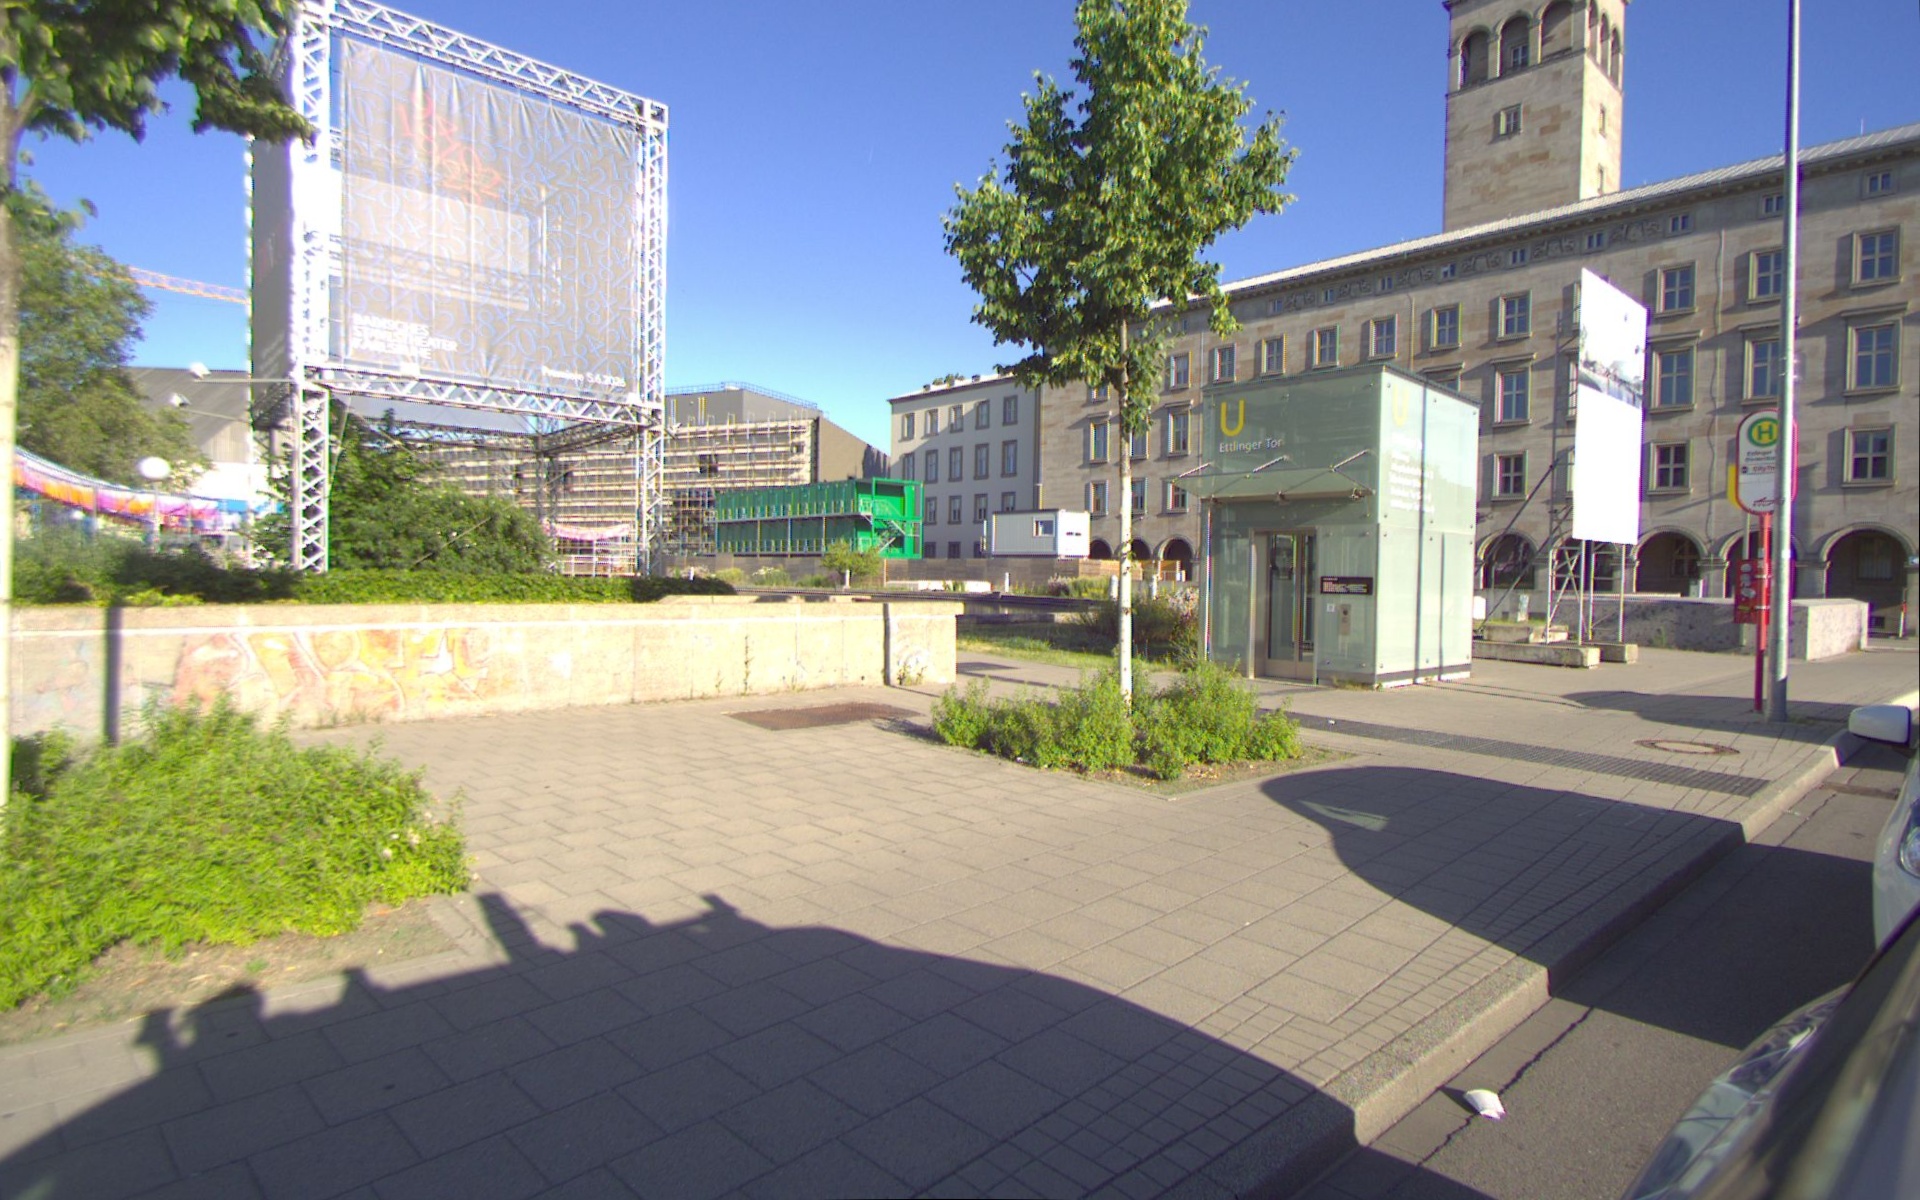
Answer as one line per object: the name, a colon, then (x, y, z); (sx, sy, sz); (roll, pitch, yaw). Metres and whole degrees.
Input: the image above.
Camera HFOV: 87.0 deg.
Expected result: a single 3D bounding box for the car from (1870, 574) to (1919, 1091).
car: (4.653, 0.678, 3.668); (3.930, 1.473, 1.518); (0, 2, -41)
